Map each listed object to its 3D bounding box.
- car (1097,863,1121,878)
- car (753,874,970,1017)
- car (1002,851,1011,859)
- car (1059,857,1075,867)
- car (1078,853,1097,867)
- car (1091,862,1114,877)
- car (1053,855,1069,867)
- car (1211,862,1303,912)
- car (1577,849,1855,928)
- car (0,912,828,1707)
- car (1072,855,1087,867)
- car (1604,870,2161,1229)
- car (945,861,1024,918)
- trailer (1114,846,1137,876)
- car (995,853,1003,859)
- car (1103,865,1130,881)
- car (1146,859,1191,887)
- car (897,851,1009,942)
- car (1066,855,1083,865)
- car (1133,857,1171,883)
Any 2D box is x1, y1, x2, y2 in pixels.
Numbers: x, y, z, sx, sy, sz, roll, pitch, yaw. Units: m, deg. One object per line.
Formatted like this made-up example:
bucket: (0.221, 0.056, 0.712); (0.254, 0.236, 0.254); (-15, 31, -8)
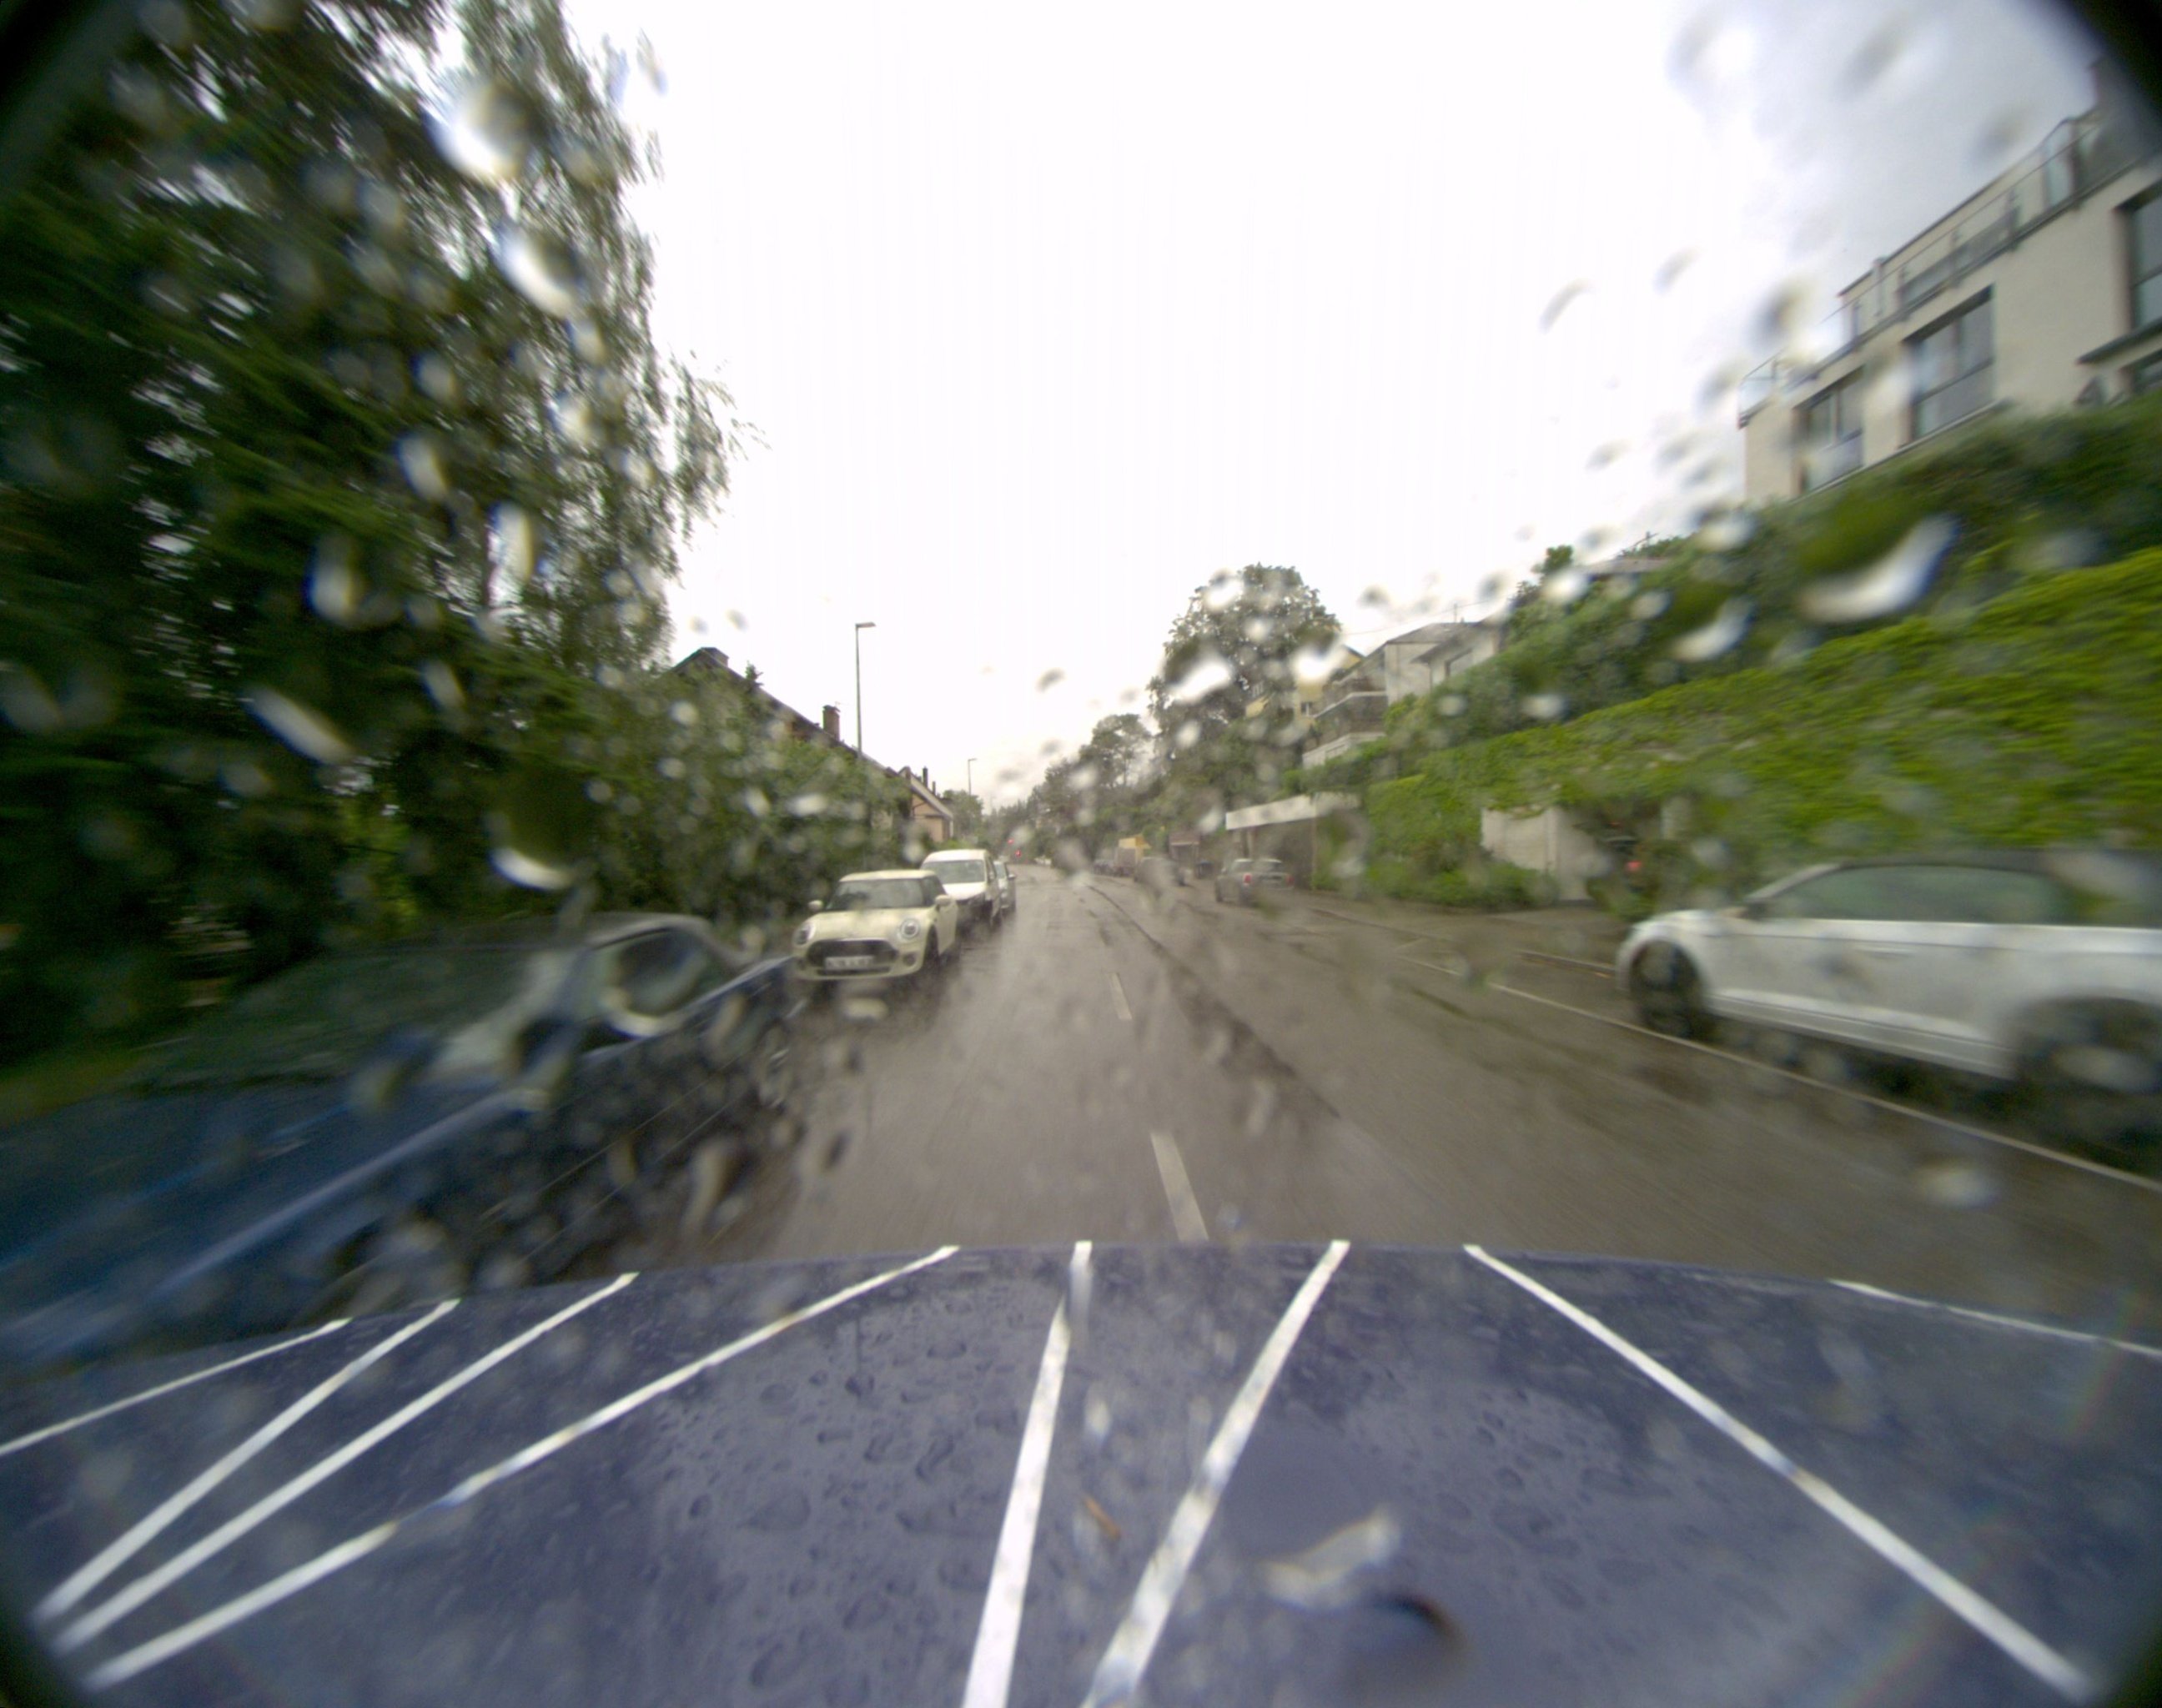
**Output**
car: (2.638, 1.582, 73.478); (1.791, 1.406, 4.216); (0, -1, -5)
car: (-2.717, 1.061, 10.430); (1.713, 1.395, 4.203); (-2, 0, 0)
car: (-22.143, 0.263, 227.156); (2.087, 2.463, 4.848); (1, 0, -12)
car: (-2.220, 1.219, 118.088); (1.914, 1.472, 4.752); (1, 0, -7)
car: (0.761, 0.742, 95.832); (1.880, 1.616, 4.591); (2, -1, -6)
car: (2.205, 1.600, 79.299); (1.791, 1.446, 4.753); (1, -1, -7)
car: (-3.388, 1.106, 128.586); (2.165, 1.907, 5.319); (0, 0, -8)
car: (5.400, 0.963, 23.778); (1.761, 1.394, 3.769); (1, 0, -3)
car: (12.064, 0.627, 14.644); (3.767, 1.375, 1.866); (-1, 0, 1)
car: (-2.643, 1.086, 3.194); (1.635, 1.274, 4.447); (-2, 0, 0)
car: (-0.217, 0.873, 102.063); (1.747, 1.552, 4.107); (1, 0, -5)
car: (5.579, 0.897, 4.614); (1.761, 1.489, 4.219); (0, 0, -3)
car: (-2.810, 0.987, 22.955); (1.794, 1.451, 4.308); (-2, 0, 0)
trailer: (3.579, 0.555, 61.525); (1.541, 2.385, 3.072); (1, 0, -2)
car: (-26.406, 0.711, 244.213); (2.164, 1.944, 4.911); (1, 0, -12)
car: (3.089, 1.653, 66.764); (1.813, 1.341, 3.774); (0, -1, -5)
car: (4.677, 1.018, 41.180); (1.761, 1.400, 3.703); (2, -1, -4)
car: (-2.791, 0.845, 17.508); (1.789, 1.780, 4.360); (-2, 0, 0)
car: (-0.924, 0.899, 107.147); (1.722, 1.357, 4.080); (1, -1, -9)
car: (4.314, 0.971, 46.728); (1.761, 1.530, 3.755); (2, -1, -4)
